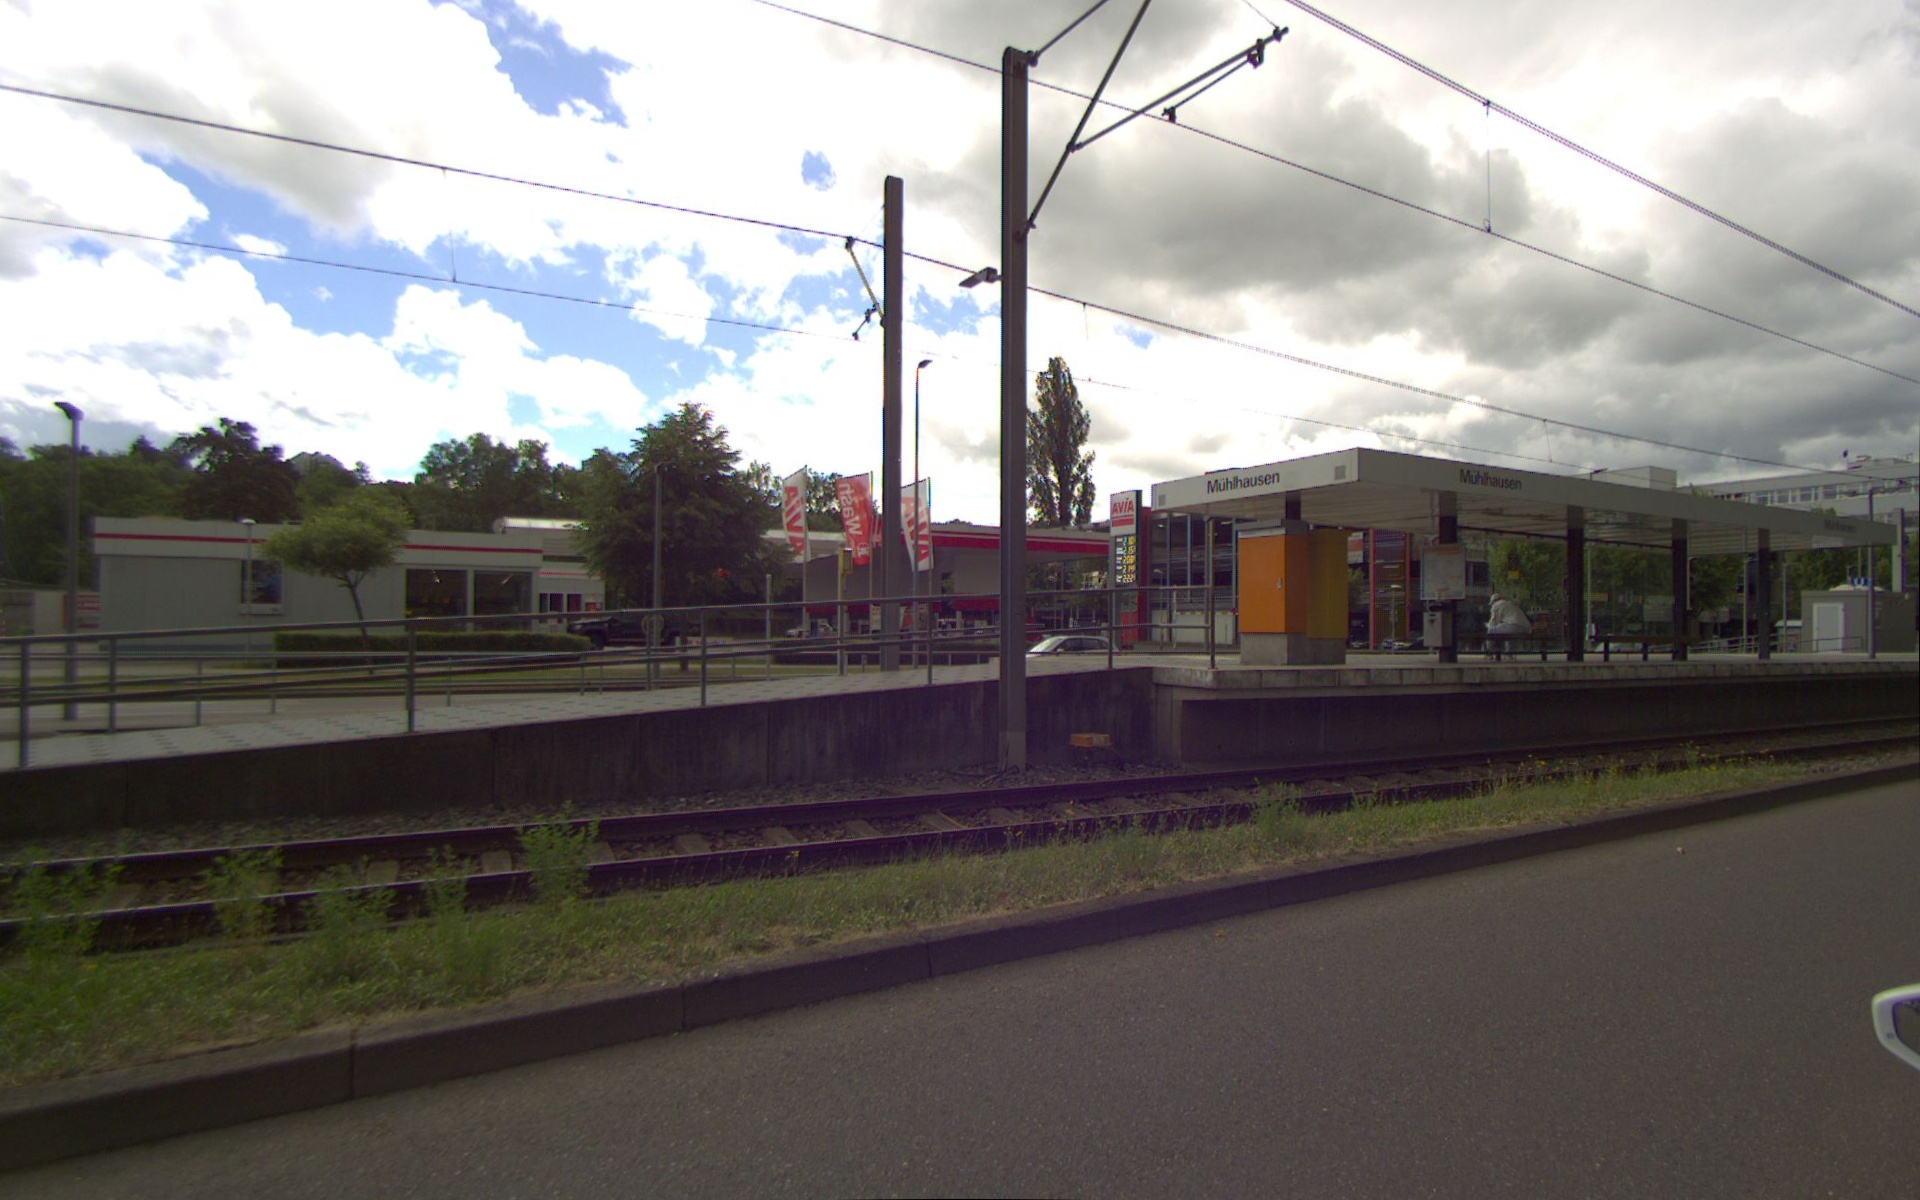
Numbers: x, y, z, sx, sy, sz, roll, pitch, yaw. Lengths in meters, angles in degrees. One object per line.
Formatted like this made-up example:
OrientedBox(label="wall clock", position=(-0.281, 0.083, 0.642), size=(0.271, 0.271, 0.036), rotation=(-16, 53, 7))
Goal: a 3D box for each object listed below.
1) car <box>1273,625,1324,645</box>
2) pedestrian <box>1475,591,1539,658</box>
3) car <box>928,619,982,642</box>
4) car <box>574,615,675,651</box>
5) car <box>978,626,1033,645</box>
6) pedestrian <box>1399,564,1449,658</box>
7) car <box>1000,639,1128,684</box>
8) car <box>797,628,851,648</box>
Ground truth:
OrientedBox(label="car", position=(25.363, 2.637, 75.252), size=(3.519, 1.433, 1.708), rotation=(2, -3, -31))
OrientedBox(label="pedestrian", position=(10.029, 0.455, 18.414), size=(0.719, 1.205, 0.766), rotation=(1, -2, -27))
OrientedBox(label="car", position=(-0.421, 2.467, 81.498), size=(4.015, 1.775, 1.899), rotation=(2, -3, -33))
OrientedBox(label="car", position=(-13.349, 1.325, 39.967), size=(3.592, 1.368, 1.606), rotation=(1, -2, -30))
OrientedBox(label="car", position=(3.548, 2.778, 78.132), size=(4.015, 1.383, 1.899), rotation=(2, -3, -33))
OrientedBox(label="pedestrian", position=(8.255, 0.207, 17.861), size=(0.579, 1.641, 0.567), rotation=(2, -3, -31))
OrientedBox(label="car", position=(3.398, 1.973, 32.676), size=(3.984, 1.368, 1.605), rotation=(2, -2, -31))
OrientedBox(label="car", position=(-12.114, 3.389, 89.635), size=(4.407, 1.728, 1.894), rotation=(3, -4, -40))
